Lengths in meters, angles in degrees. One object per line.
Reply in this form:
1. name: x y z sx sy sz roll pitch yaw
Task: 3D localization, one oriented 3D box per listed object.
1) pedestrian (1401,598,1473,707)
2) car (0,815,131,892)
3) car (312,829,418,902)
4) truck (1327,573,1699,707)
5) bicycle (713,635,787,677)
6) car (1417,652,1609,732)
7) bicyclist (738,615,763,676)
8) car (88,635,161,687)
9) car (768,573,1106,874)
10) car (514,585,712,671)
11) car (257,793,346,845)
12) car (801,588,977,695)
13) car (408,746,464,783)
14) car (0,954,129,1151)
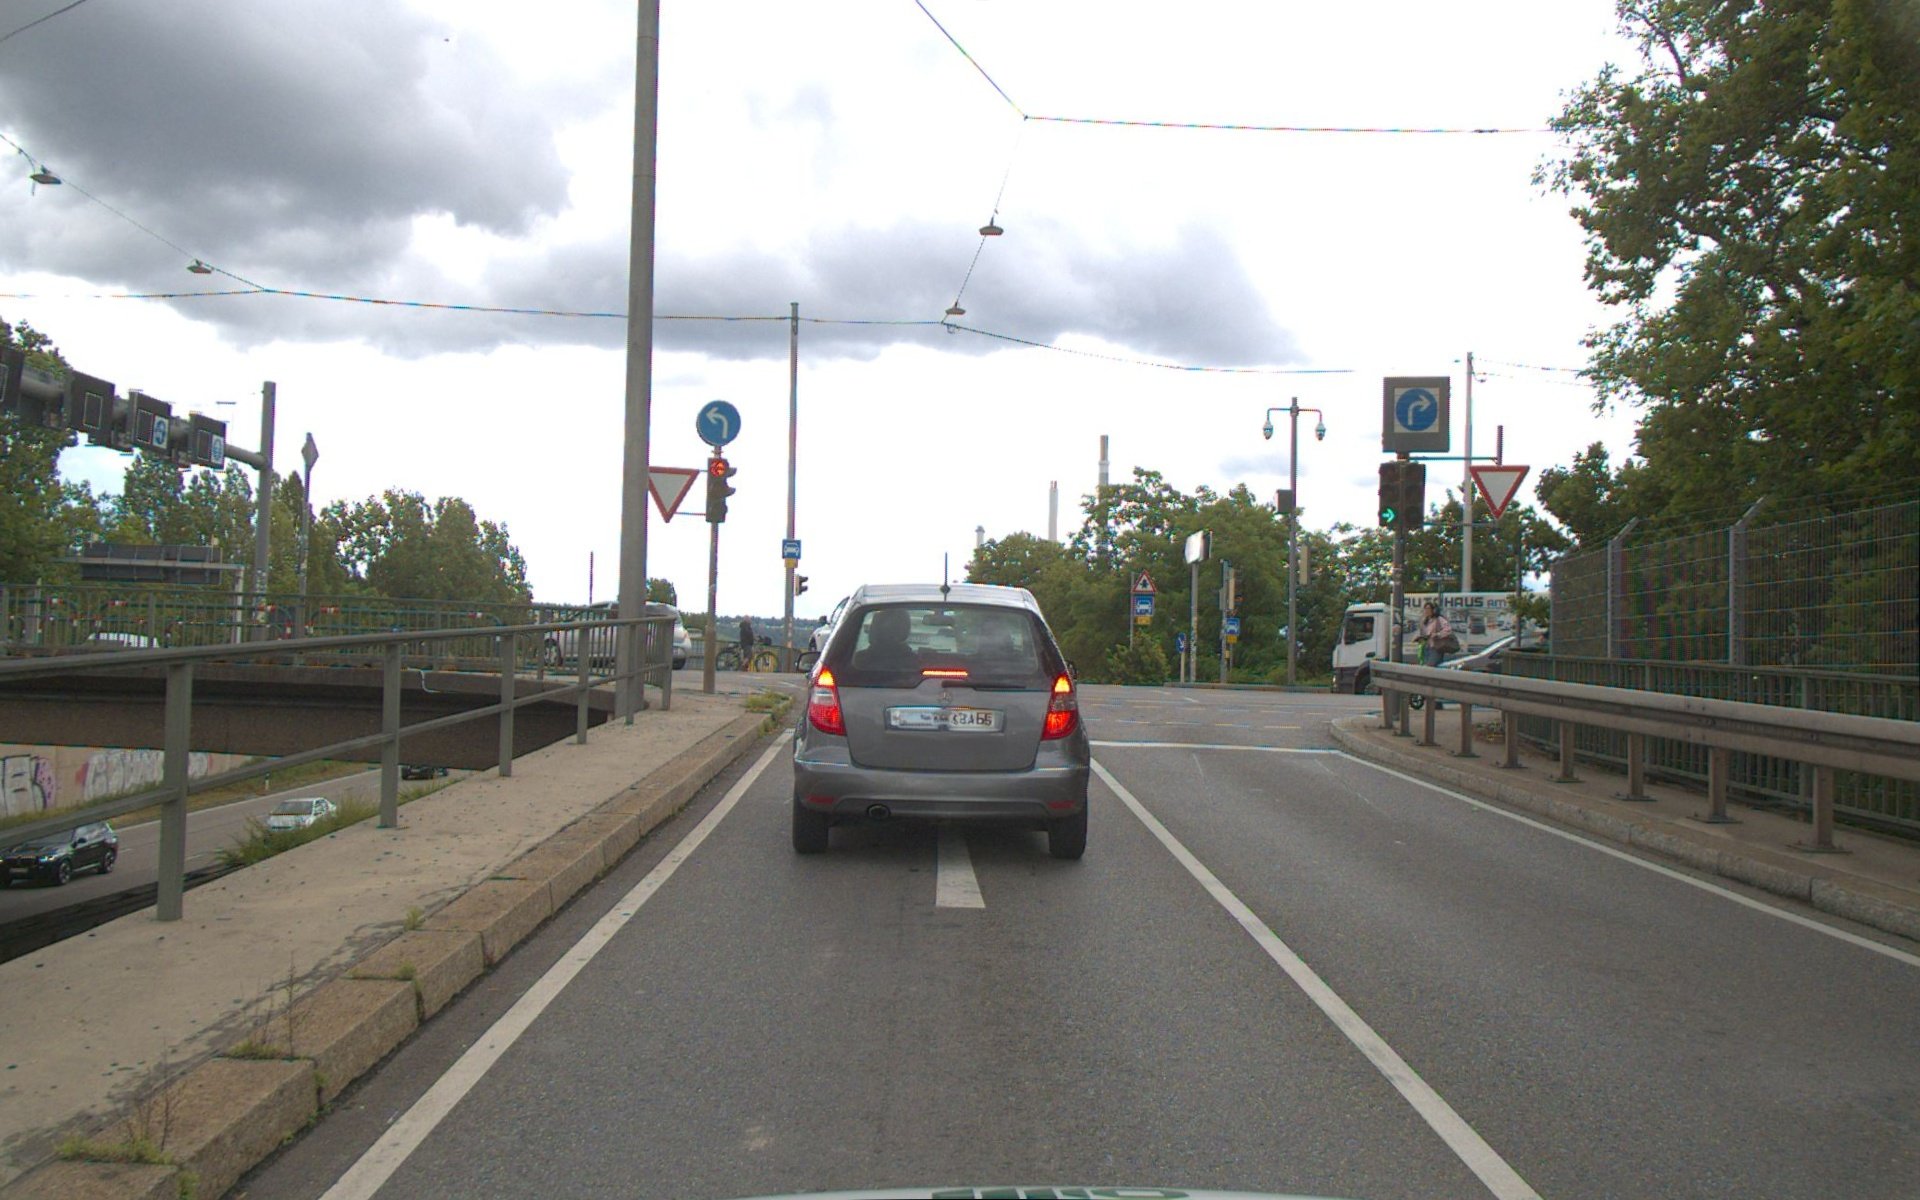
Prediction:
1. pedestrian: 7.644 0.855 26.532 0.816 1.707 0.978 1 -3 -4
2. car: -26.916 7.551 49.630 1.877 1.769 4.550 0 -3 -2
3. car: -16.437 7.329 45.837 1.524 1.580 3.682 1 -3 1
4. truck: 16.116 1.054 48.632 10.022 3.580 2.793 1 0 29
5. bicycle: -5.986 1.593 47.081 1.997 1.144 0.926 1 0 -12
6. car: 12.907 2.125 38.752 3.904 1.694 1.813 1 0 1
7. bicyclist: -5.971 1.302 47.095 0.641 1.703 0.867 1 0 -12
8. car: -39.482 2.851 78.213 1.819 2.254 3.659 1 0 -5
9. car: -0.087 0.654 11.029 1.819 1.616 4.001 1 1 1
10. car: -7.637 0.583 36.388 3.910 1.747 1.935 1 0 27
11. car: -24.392 8.102 61.417 1.693 1.555 4.085 1 -3 -1
12. car: -1.357 0.673 29.391 1.903 1.747 4.380 1 0 -20
13. car: -30.021 9.403 94.873 1.892 1.874 4.408 0 -3 -1
14. car: -13.352 6.154 22.243 1.910 1.969 4.893 1 -3 -2
